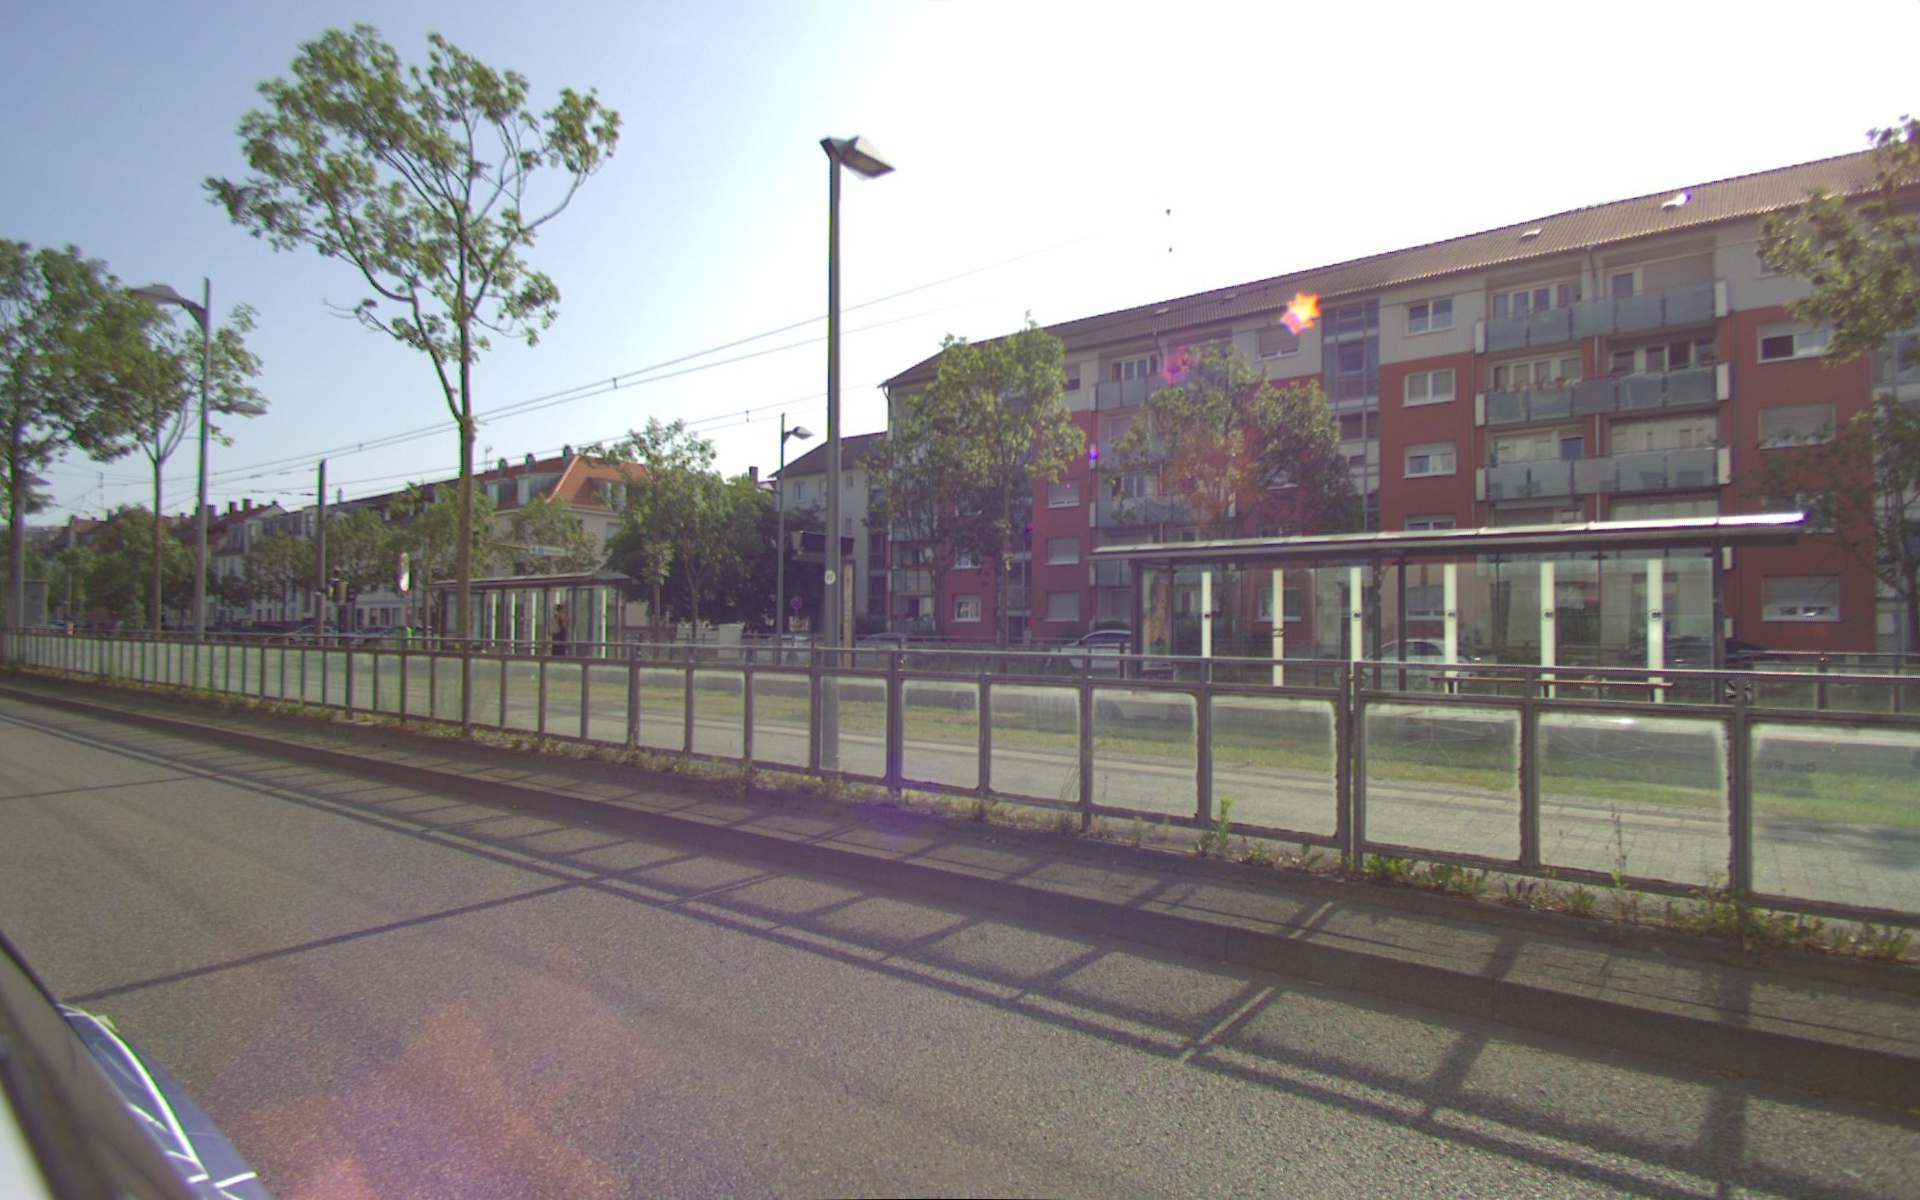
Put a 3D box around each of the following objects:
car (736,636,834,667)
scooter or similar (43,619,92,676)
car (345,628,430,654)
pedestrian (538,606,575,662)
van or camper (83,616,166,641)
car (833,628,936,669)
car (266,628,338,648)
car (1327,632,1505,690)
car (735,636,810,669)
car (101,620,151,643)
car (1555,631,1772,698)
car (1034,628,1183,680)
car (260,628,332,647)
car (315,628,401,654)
[{"bbox_3d":[-7.453,2.160,42.930,4.158,1.156,1.816,-1,-1,38],"label":"car"},{"bbox_3d":[-20.005,1.061,22.698,0.420,1.248,1.266,2,-3,-24],"label":"scooter or similar"},{"bbox_3d":[-35.352,2.510,62.606,4.278,1.474,1.970,0,-1,-19],"label":"car"},{"bbox_3d":[-12.135,1.019,30.430,0.792,1.666,0.666,-1,-3,34],"label":"pedestrian"},{"bbox_3d":[-85.309,2.923,103.393,6.058,2.566,2.421,0,-2,-14],"label":"van or camper"},{"bbox_3d":[-2.980,1.872,39.668,3.821,1.482,1.816,-1,-1,38],"label":"car"},{"bbox_3d":[-46.014,2.653,70.849,3.930,1.279,1.893,0,-1,-22],"label":"car"},{"bbox_3d":[12.361,1.605,27.527,4.063,1.371,1.962,-1,-1,38],"label":"car"},{"bbox_3d":[-10.898,3.023,58.975,1.998,1.708,3.948,-1,-1,39],"label":"car"},{"bbox_3d":[-66.399,2.502,80.532,4.705,1.719,1.975,-1,-5,37],"label":"car"},{"bbox_3d":[16.520,1.463,23.901,4.063,1.371,1.962,-1,-1,38],"label":"car"},{"bbox_3d":[4.872,1.736,33.476,4.530,1.568,1.962,-1,-1,38],"label":"car"},{"bbox_3d":[-47.837,2.710,72.998,3.931,1.268,1.882,1,-2,-19],"label":"car"},{"bbox_3d":[-38.316,2.584,64.517,4.389,1.526,2.006,0,-1,-15],"label":"car"}]
